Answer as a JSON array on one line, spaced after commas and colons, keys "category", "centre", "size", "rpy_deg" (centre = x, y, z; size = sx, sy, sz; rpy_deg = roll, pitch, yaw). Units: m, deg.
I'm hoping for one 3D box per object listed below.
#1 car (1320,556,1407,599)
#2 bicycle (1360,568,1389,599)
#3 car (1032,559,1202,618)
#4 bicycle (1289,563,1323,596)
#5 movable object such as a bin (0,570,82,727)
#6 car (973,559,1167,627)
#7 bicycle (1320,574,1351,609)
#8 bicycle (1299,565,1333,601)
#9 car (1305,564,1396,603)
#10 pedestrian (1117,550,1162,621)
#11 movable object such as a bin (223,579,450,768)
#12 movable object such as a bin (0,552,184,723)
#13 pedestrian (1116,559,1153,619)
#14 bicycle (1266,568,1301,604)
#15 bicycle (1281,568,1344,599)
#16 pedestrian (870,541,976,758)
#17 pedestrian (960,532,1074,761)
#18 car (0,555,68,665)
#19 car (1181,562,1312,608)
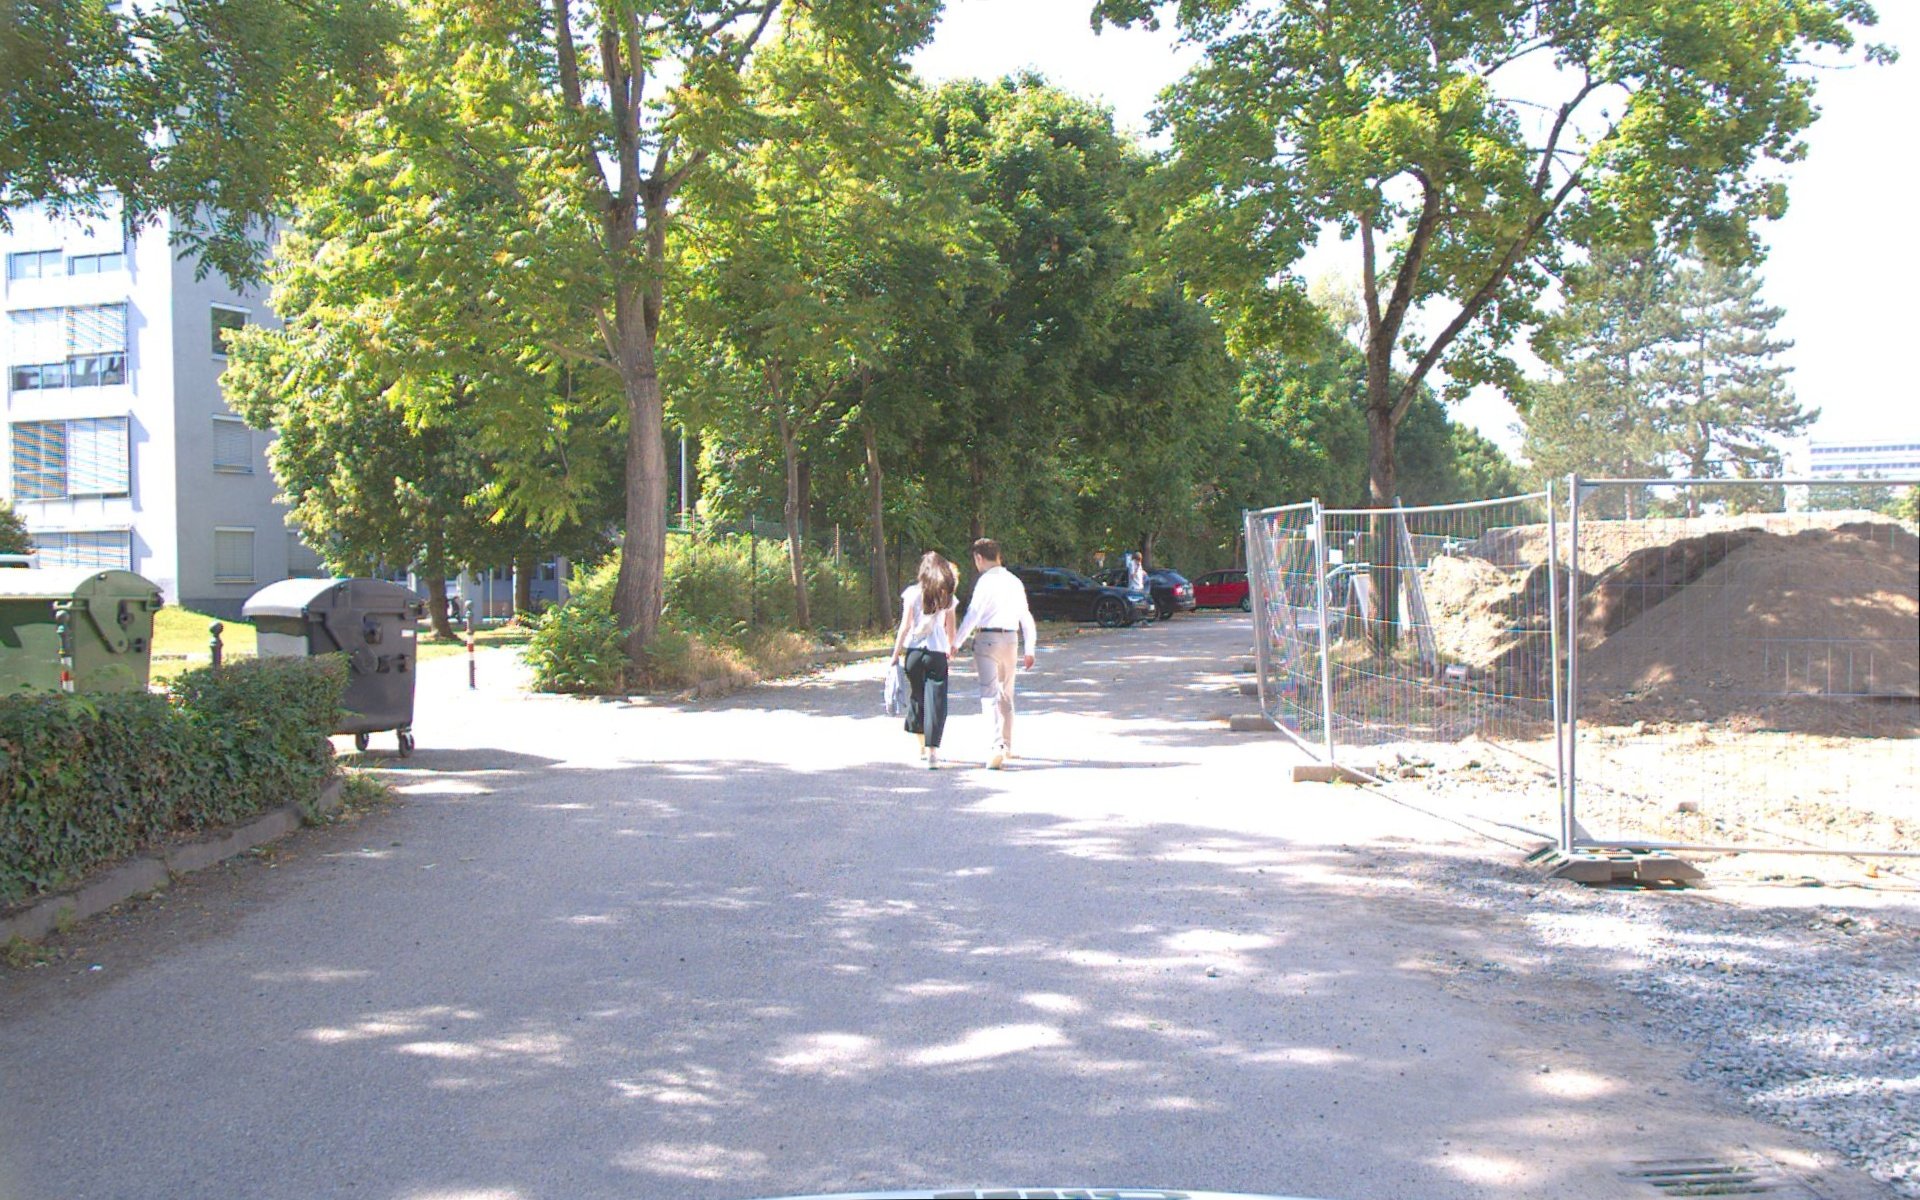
[{"category": "car", "centre": [19.817, -1.092, 81.238], "size": [3.909, 2.048, 1.766], "rpy_deg": [0, 2, 27]}, {"category": "bicycle", "centre": [17.982, -0.725, 71.685], "size": [0.800, 1.306, 2.746], "rpy_deg": [0, 1, 23]}, {"category": "car", "centre": [4.490, -0.331, 47.176], "size": [4.557, 1.612, 2.002], "rpy_deg": [0, 2, 15]}, {"category": "bicycle", "centre": [13.869, -0.842, 66.301], "size": [0.800, 1.306, 2.683], "rpy_deg": [0, 1, 23]}, {"category": "movable object such as a bin", "centre": [-9.438, 0.455, 15.917], "size": [1.193, 1.456, 1.249], "rpy_deg": [-1, 1, 13]}, {"category": "car", "centre": [2.784, -0.188, 41.508], "size": [4.557, 1.612, 2.002], "rpy_deg": [0, 2, 15]}, {"category": "bicycle", "centre": [14.739, -0.353, 64.840], "size": [0.700, 1.306, 2.636], "rpy_deg": [0, 1, 23]}, {"category": "bicycle", "centre": [13.002, -0.632, 60.399], "size": [0.700, 1.306, 2.683], "rpy_deg": [0, 1, 23]}, {"category": "car", "centre": [18.530, -0.795, 78.533], "size": [3.909, 1.802, 1.766], "rpy_deg": [0, 2, 27]}, {"category": "pedestrian", "centre": [4.615, -0.379, 42.454], "size": [0.992, 1.812, 0.820], "rpy_deg": [0, 1, 17]}, {"category": "movable object such as a bin", "centre": [-5.099, 0.553, 13.527], "size": [1.379, 1.421, 1.241], "rpy_deg": [0, 1, 42]}, {"category": "movable object such as a bin", "centre": [-8.198, 0.324, 15.327], "size": [1.306, 1.507, 1.249], "rpy_deg": [-1, 1, 18]}, {"category": "pedestrian", "centre": [4.810, -0.320, 45.571], "size": [0.905, 1.623, 0.786], "rpy_deg": [0, 2, 15]}, {"category": "bicycle", "centre": [12.116, -0.525, 61.882], "size": [0.700, 1.306, 2.790], "rpy_deg": [0, 1, 23]}, {"category": "bicycle", "centre": [15.336, -0.720, 72.038], "size": [2.619, 1.306, 0.819], "rpy_deg": [0, 1, 18]}, {"category": "pedestrian", "centre": [-0.307, 0.368, 13.188], "size": [0.722, 1.668, 0.779], "rpy_deg": [-1, 2, -10]}, {"category": "pedestrian", "centre": [0.447, 0.343, 13.222], "size": [0.741, 1.758, 0.852], "rpy_deg": [-1, 2, -10]}, {"category": "car", "centre": [-18.551, 0.200, 28.895], "size": [1.954, 1.966, 5.037], "rpy_deg": [0, 1, 25]}, {"category": "car", "centre": [10.014, -0.540, 57.804], "size": [4.198, 1.550, 1.892], "rpy_deg": [0, 1, 22]}]
